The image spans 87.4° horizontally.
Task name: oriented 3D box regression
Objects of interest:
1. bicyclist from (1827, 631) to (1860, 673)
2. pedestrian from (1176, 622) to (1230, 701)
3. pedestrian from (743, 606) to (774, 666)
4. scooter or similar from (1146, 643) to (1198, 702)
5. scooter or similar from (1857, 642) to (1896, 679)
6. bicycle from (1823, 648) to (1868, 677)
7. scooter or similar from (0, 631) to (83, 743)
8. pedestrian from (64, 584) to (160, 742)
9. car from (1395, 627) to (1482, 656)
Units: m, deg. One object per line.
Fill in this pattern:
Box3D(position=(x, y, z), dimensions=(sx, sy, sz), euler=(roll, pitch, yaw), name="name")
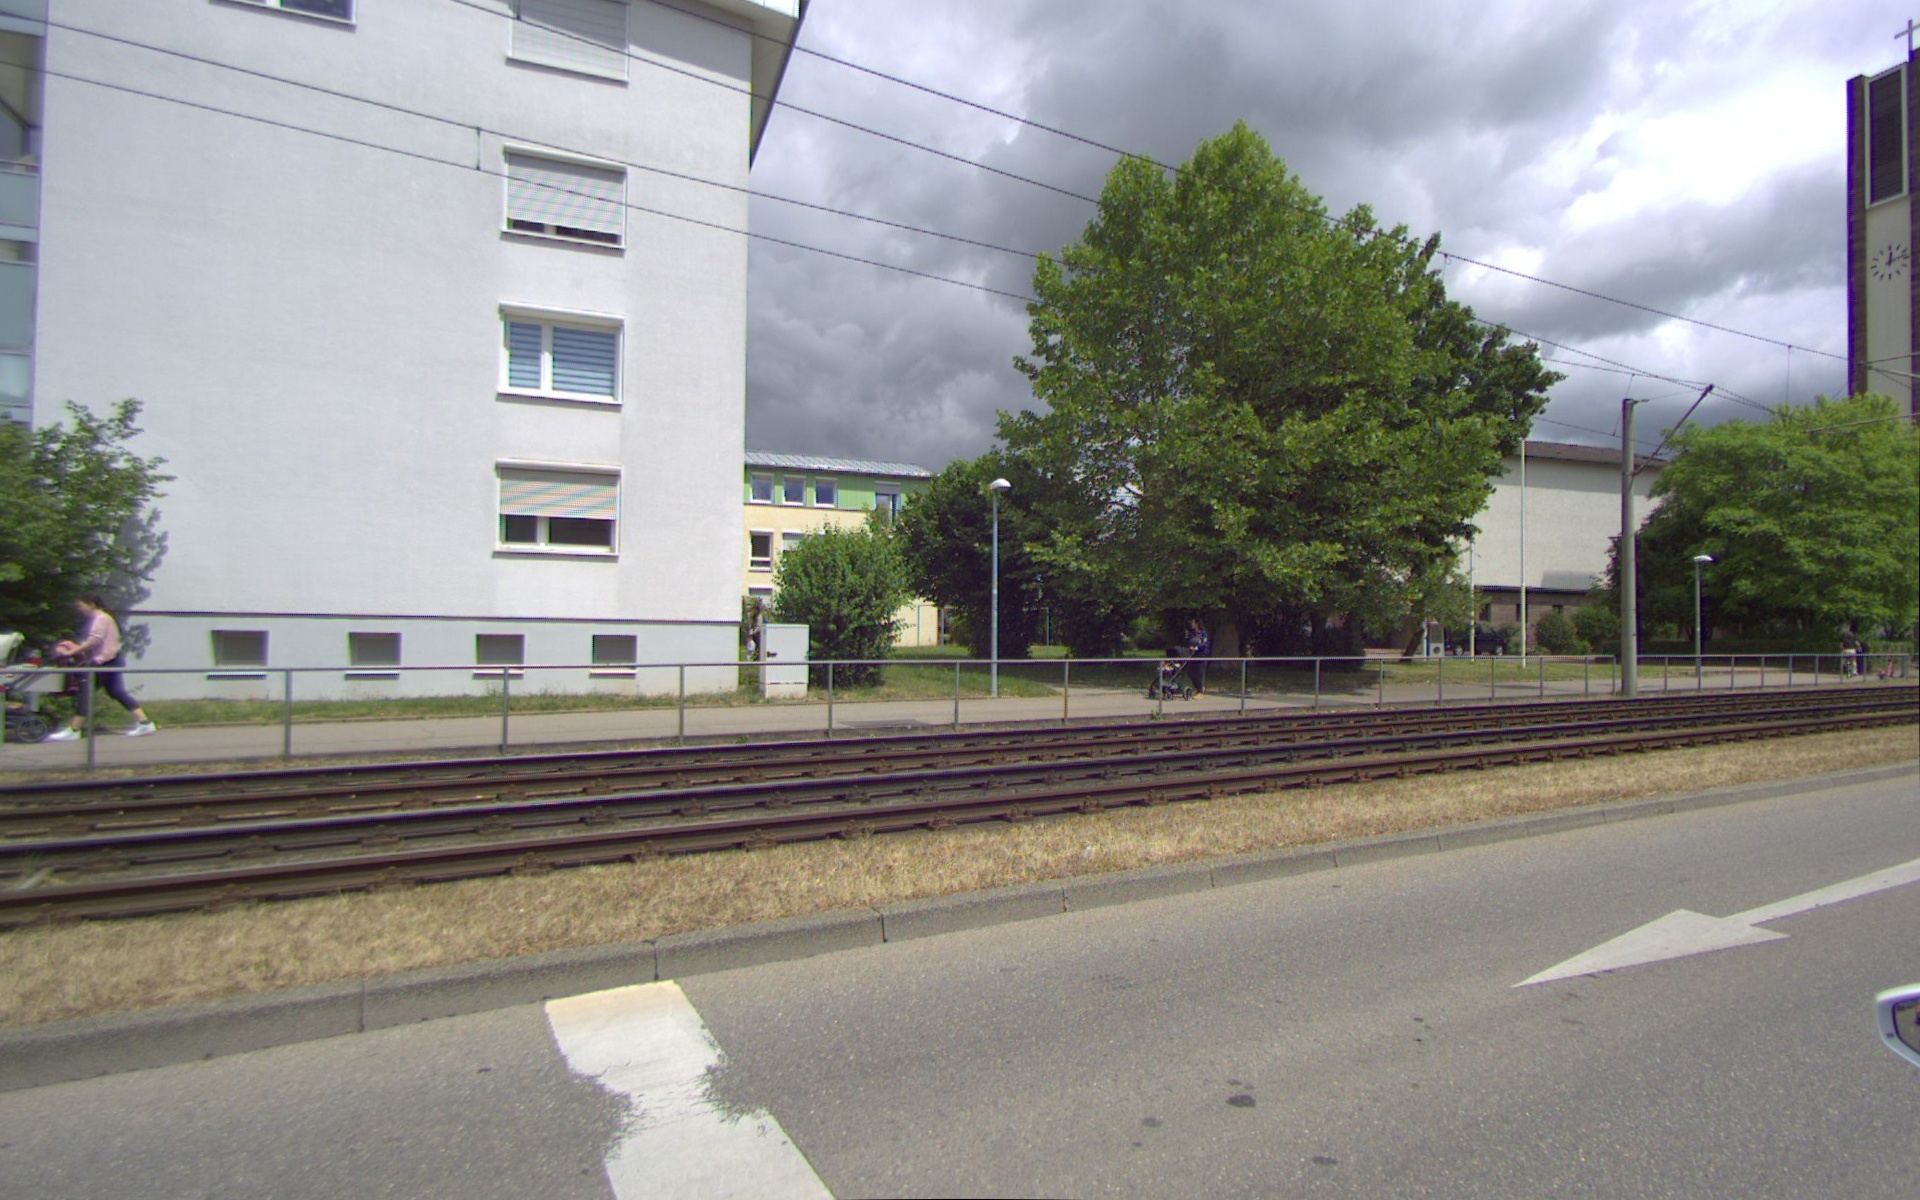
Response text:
Box3D(position=(31.916, 1.872, 36.285), dimensions=(0.781, 1.448, 0.630), euler=(2, 0, -30), name="bicyclist")
Box3D(position=(4.935, 1.246, 20.421), dimensions=(0.864, 1.560, 0.609), euler=(2, -1, -32), name="pedestrian")
Box3D(position=(-5.622, 1.005, 27.994), dimensions=(0.712, 1.608, 0.956), euler=(2, -2, -16), name="pedestrian")
Box3D(position=(4.212, 1.428, 19.966), dimensions=(0.812, 1.130, 0.601), euler=(2, -1, -32), name="scooter or similar")
Box3D(position=(33.216, 2.180, 36.398), dimensions=(1.384, 1.253, 0.646), euler=(1, 0, -30), name="scooter or similar")
Box3D(position=(32.083, 2.262, 36.398), dimensions=(1.906, 1.007, 0.634), euler=(2, 0, -30), name="bicycle")
Box3D(position=(-10.232, 0.934, 10.947), dimensions=(0.881, 1.178, 0.605), euler=(2, -1, -30), name="scooter or similar")
Box3D(position=(-9.559, 0.699, 11.347), dimensions=(0.671, 1.715, 0.642), euler=(2, -1, -30), name="pedestrian")
Box3D(position=(28.741, 2.480, 60.373), dimensions=(4.399, 1.595, 1.995), euler=(2, 0, -12), name="car")
